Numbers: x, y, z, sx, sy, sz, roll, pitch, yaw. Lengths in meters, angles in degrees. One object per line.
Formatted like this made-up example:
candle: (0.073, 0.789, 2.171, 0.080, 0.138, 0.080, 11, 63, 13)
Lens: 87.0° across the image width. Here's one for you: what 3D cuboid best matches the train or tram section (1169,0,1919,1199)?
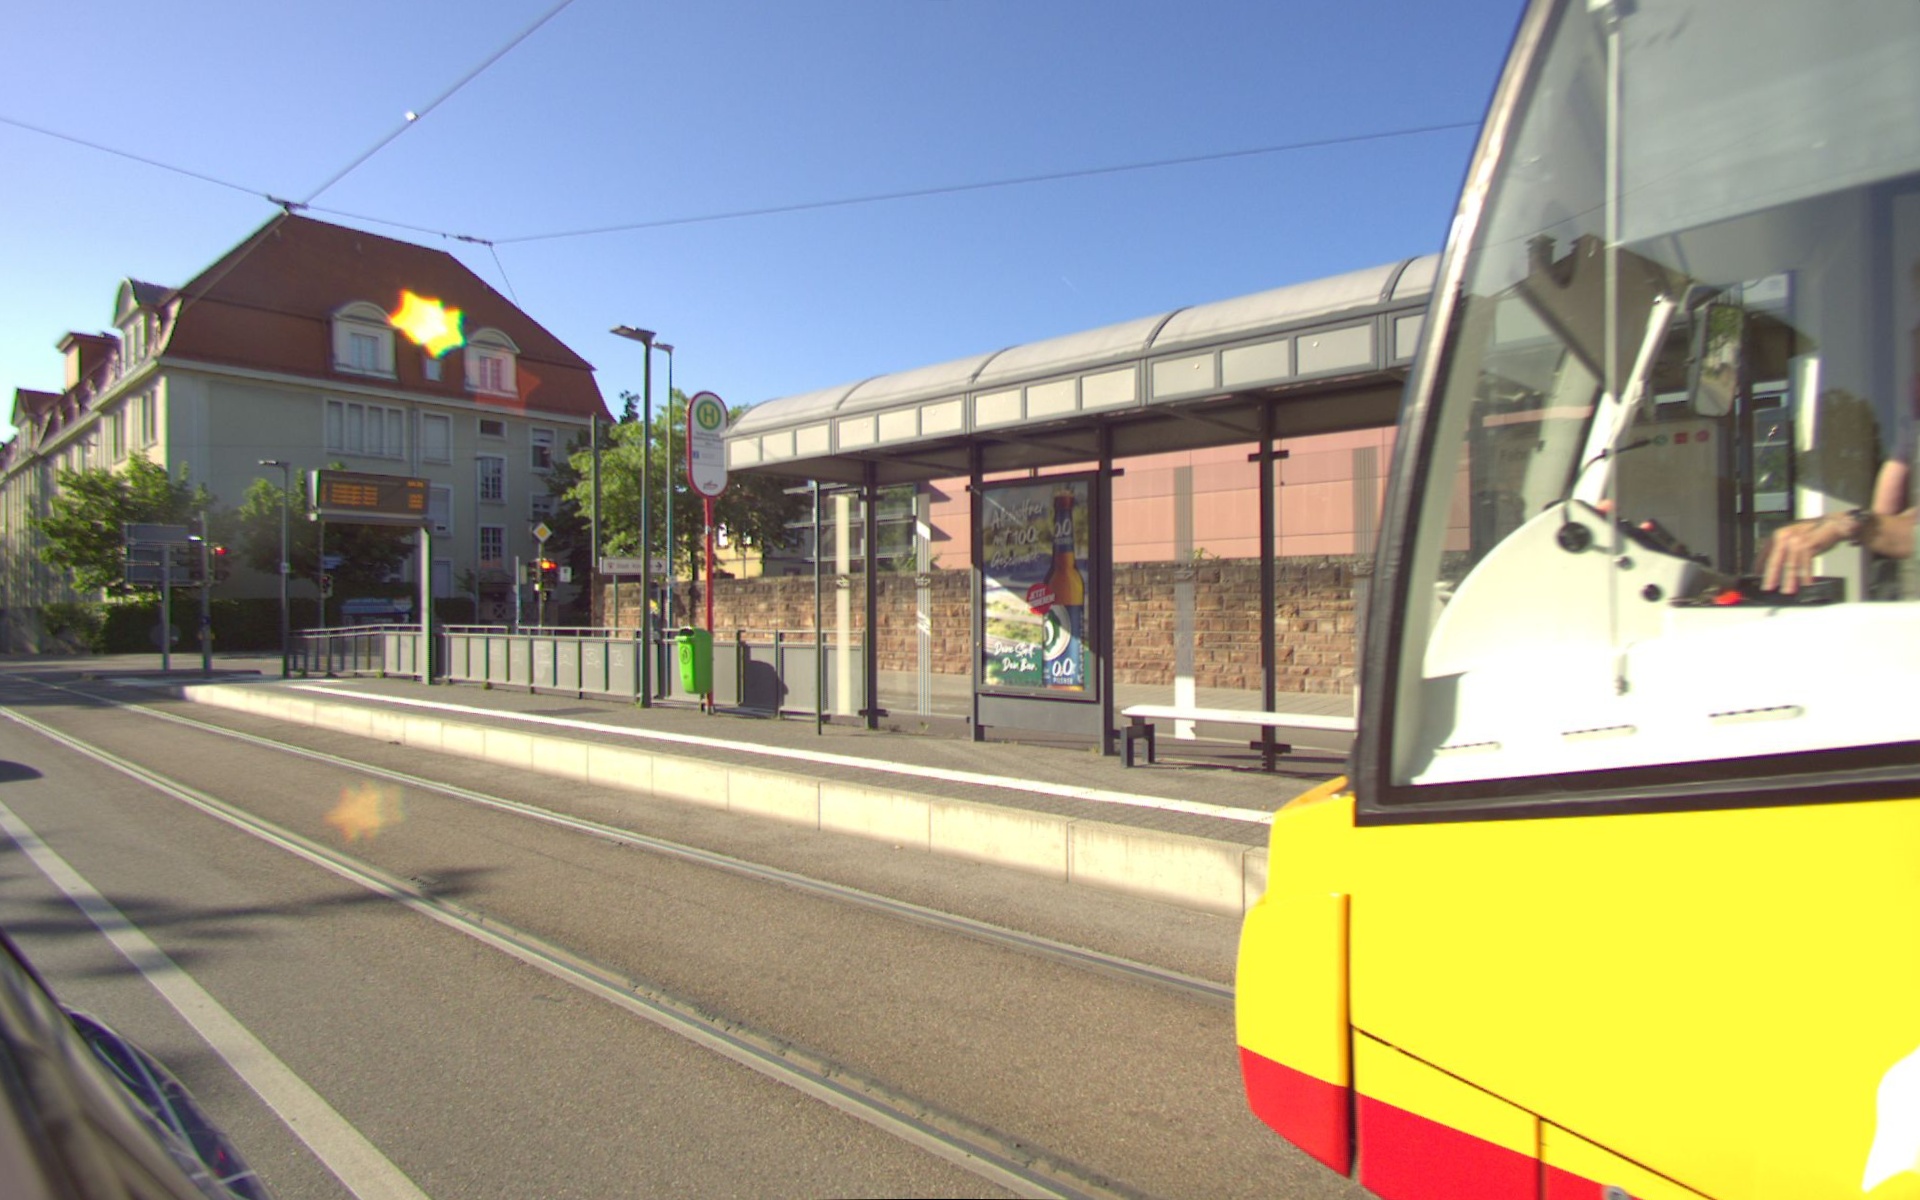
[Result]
train or tram section: (3.754, -0.412, 0.507, 6.665, 3.486, 2.775, -1, -1, 41)
